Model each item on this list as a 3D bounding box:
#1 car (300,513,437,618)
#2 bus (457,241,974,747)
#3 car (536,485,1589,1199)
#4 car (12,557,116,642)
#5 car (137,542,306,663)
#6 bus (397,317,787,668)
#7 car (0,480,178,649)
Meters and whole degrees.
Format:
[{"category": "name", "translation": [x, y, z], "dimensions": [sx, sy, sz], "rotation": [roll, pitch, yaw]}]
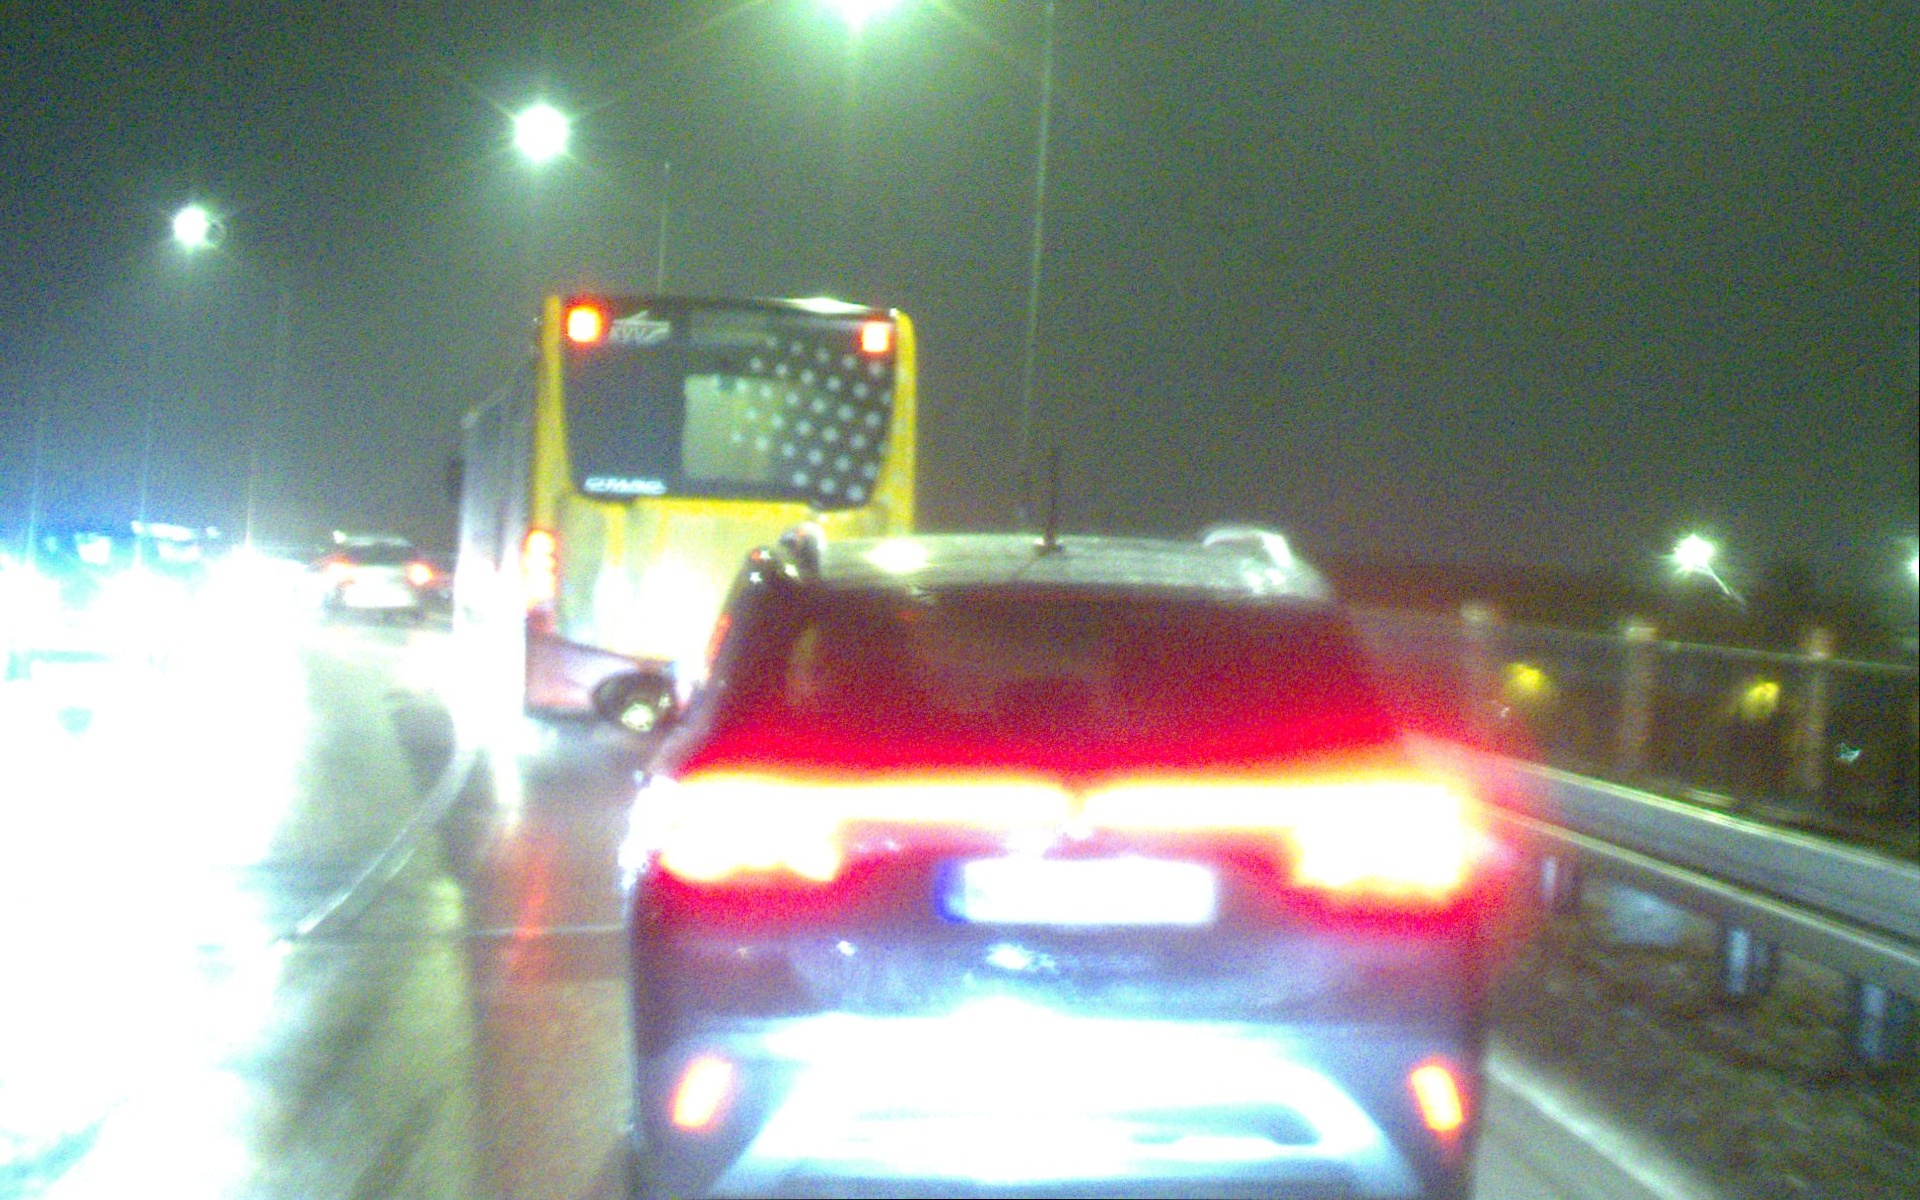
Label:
[{"category": "car", "translation": [-9.929, -0.582, 57.549], "dimensions": [1.635, 1.650, 3.711], "rotation": [-2, 1, -19]}, {"category": "bus", "translation": [-2.452, -0.840, 28.030], "dimensions": [3.082, 3.122, 12.701], "rotation": [1, 2, -9]}, {"category": "car", "translation": [-0.008, 0.603, 8.188], "dimensions": [1.855, 1.581, 4.001], "rotation": [3, 0, -6]}, {"category": "car", "translation": [-16.051, -0.035, 61.679], "dimensions": [1.682, 1.386, 4.452], "rotation": [2, 0, -14]}, {"category": "car", "translation": [-9.607, 0.001, 44.522], "dimensions": [1.895, 1.434, 4.064], "rotation": [1, 1, -15]}, {"category": "bus", "translation": [-4.301, -1.212, 38.283], "dimensions": [3.048, 3.121, 8.081], "rotation": [8, 0, -13]}, {"category": "car", "translation": [-8.743, -0.391, 34.605], "dimensions": [1.470, 1.579, 3.192], "rotation": [1, 2, -9]}]
